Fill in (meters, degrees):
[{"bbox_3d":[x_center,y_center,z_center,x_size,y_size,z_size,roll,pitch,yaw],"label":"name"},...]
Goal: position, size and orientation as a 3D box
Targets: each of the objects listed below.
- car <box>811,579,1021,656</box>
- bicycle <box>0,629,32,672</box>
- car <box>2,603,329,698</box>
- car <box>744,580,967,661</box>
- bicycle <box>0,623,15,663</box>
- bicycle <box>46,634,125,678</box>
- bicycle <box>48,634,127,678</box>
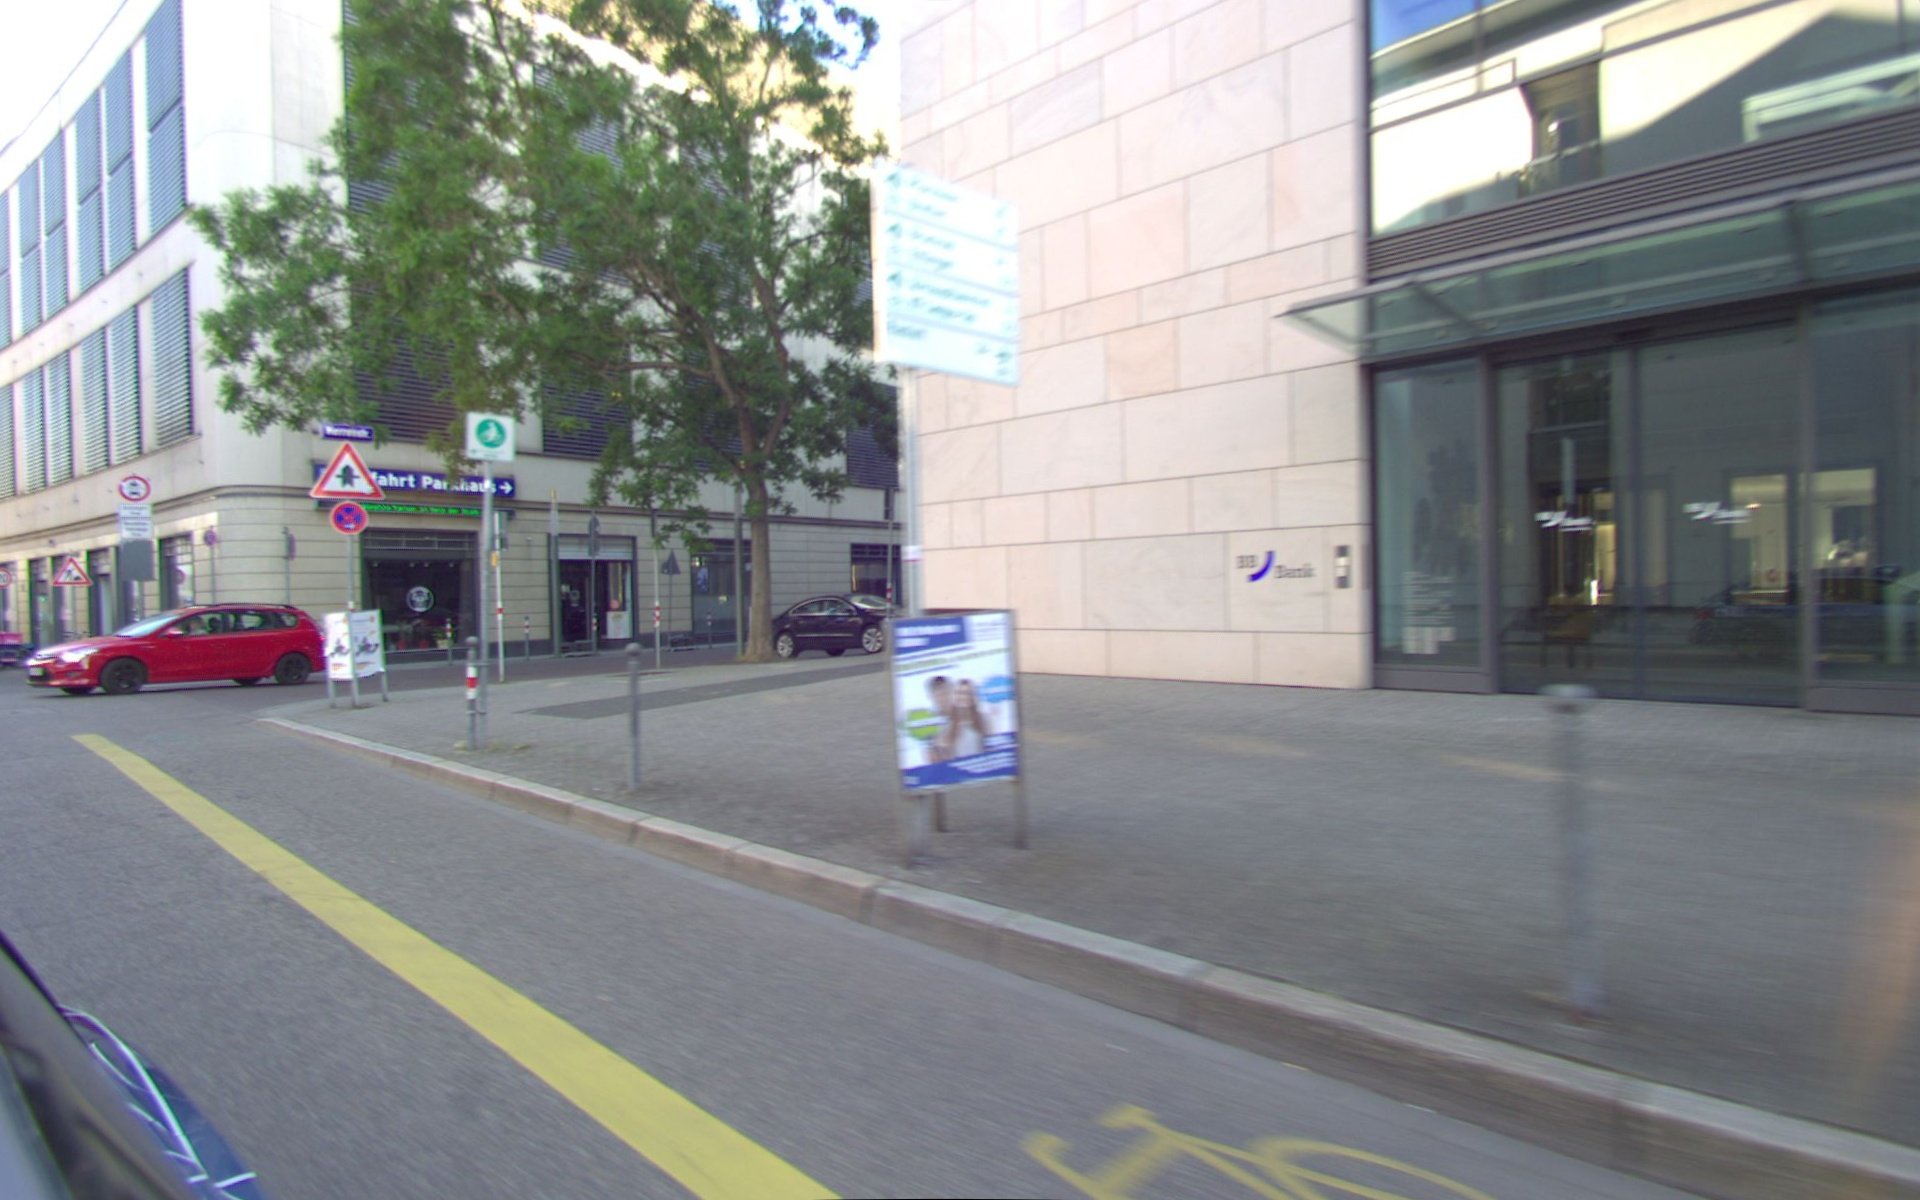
[{"bbox_3d":[-1.164,0.469,24.939,5.011,1.511,1.975,-6,-3,37],"label":"car"},{"bbox_3d":[-28.792,1.522,30.288,0.353,1.259,1.498,0,0,42],"label":"bicycle"},{"bbox_3d":[-13.910,0.835,18.030,1.819,1.476,4.225,-1,-1,26],"label":"car"},{"bbox_3d":[-2.465,0.509,23.078,5.011,1.463,1.975,-6,-3,37],"label":"car"},{"bbox_3d":[-31.147,1.371,32.244,1.494,1.259,0.354,0,0,-35],"label":"bicycle"},{"bbox_3d":[-22.672,1.451,26.257,1.493,1.041,0.354,-2,0,-31],"label":"bicycle"},{"bbox_3d":[-22.894,1.460,26.577,1.493,1.041,0.354,-2,0,-31],"label":"bicycle"}]
